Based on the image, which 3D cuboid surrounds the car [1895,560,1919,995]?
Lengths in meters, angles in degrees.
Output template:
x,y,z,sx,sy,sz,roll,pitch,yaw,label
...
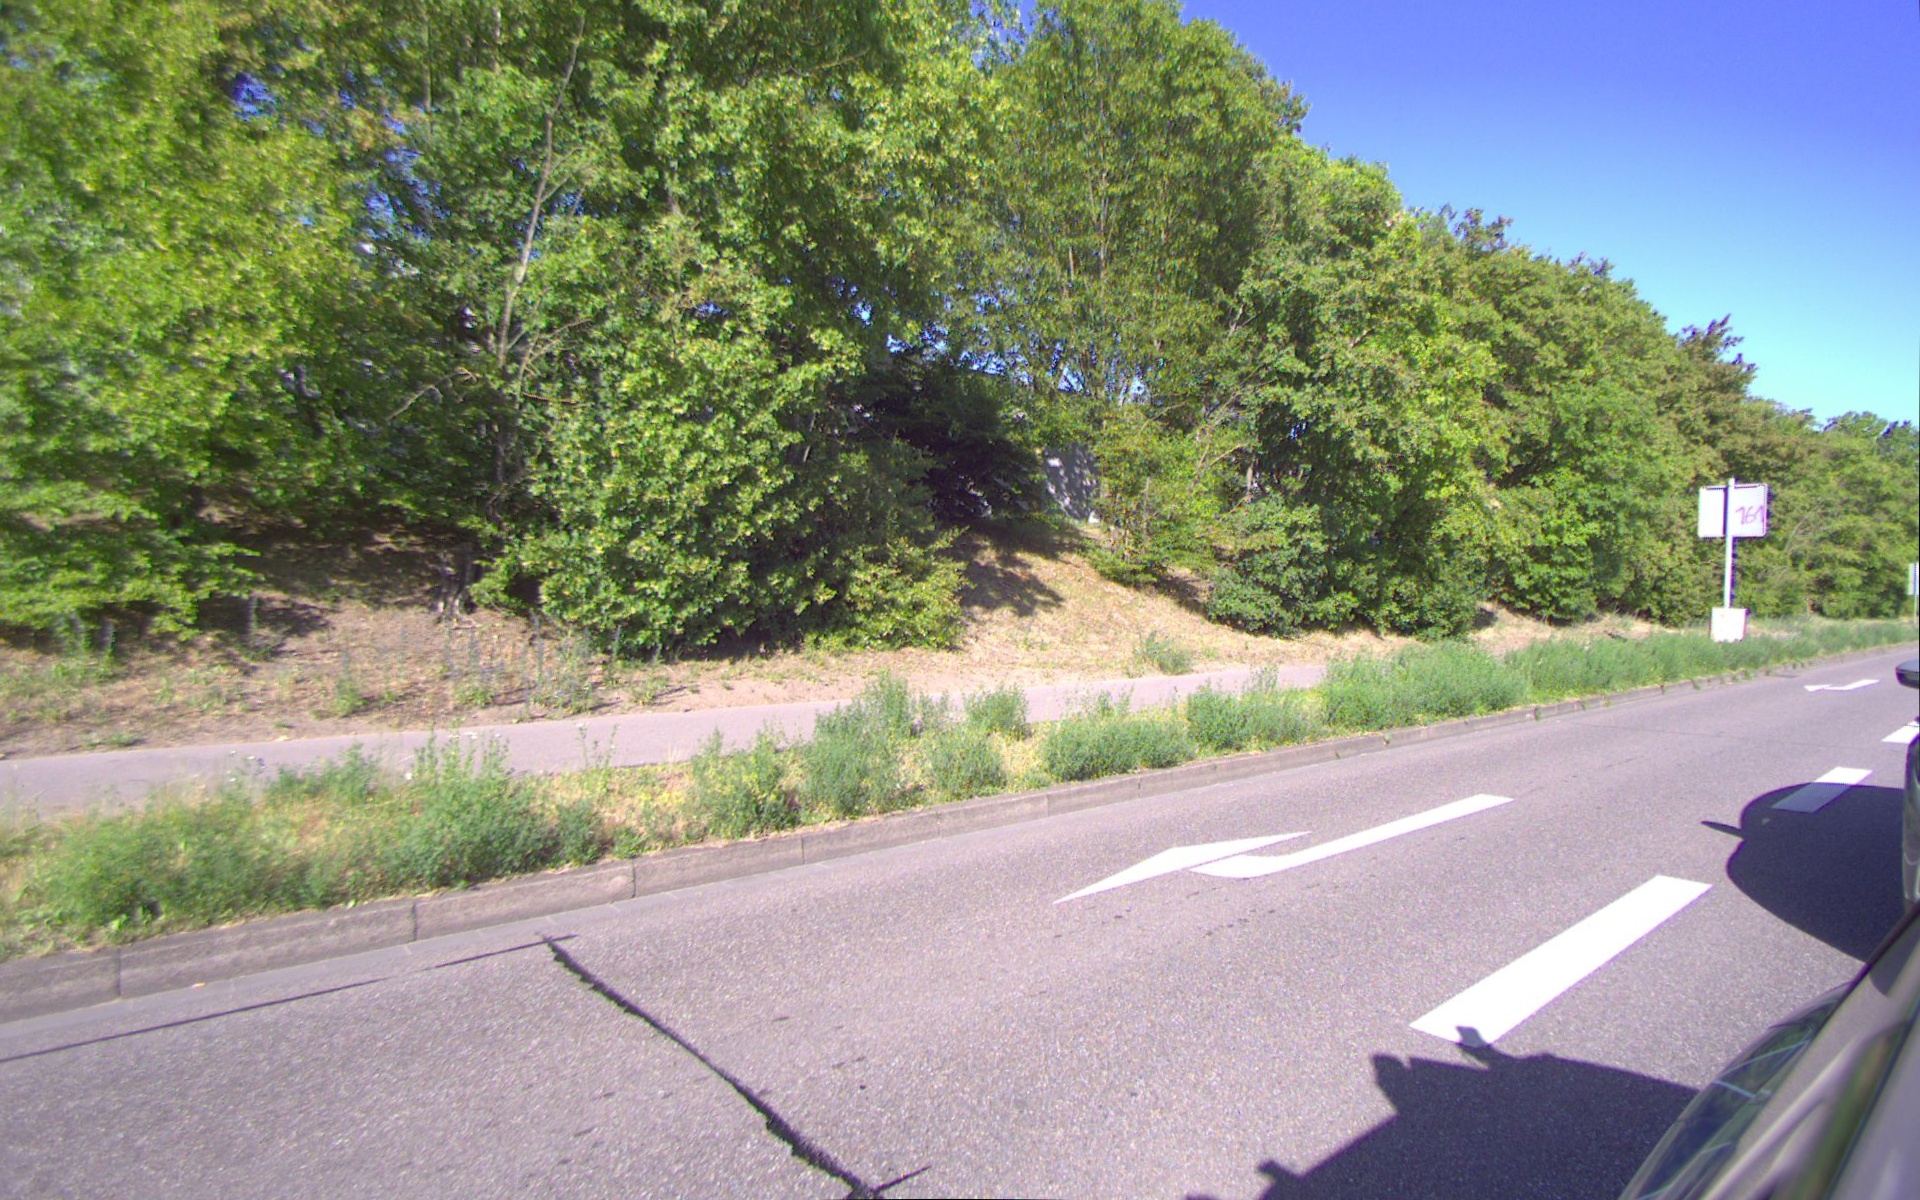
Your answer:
x,y,z,sx,sy,sz,roll,pitch,yaw,label
5.715,0.658,4.526,4.327,1.603,1.860,0,0,-42,car
